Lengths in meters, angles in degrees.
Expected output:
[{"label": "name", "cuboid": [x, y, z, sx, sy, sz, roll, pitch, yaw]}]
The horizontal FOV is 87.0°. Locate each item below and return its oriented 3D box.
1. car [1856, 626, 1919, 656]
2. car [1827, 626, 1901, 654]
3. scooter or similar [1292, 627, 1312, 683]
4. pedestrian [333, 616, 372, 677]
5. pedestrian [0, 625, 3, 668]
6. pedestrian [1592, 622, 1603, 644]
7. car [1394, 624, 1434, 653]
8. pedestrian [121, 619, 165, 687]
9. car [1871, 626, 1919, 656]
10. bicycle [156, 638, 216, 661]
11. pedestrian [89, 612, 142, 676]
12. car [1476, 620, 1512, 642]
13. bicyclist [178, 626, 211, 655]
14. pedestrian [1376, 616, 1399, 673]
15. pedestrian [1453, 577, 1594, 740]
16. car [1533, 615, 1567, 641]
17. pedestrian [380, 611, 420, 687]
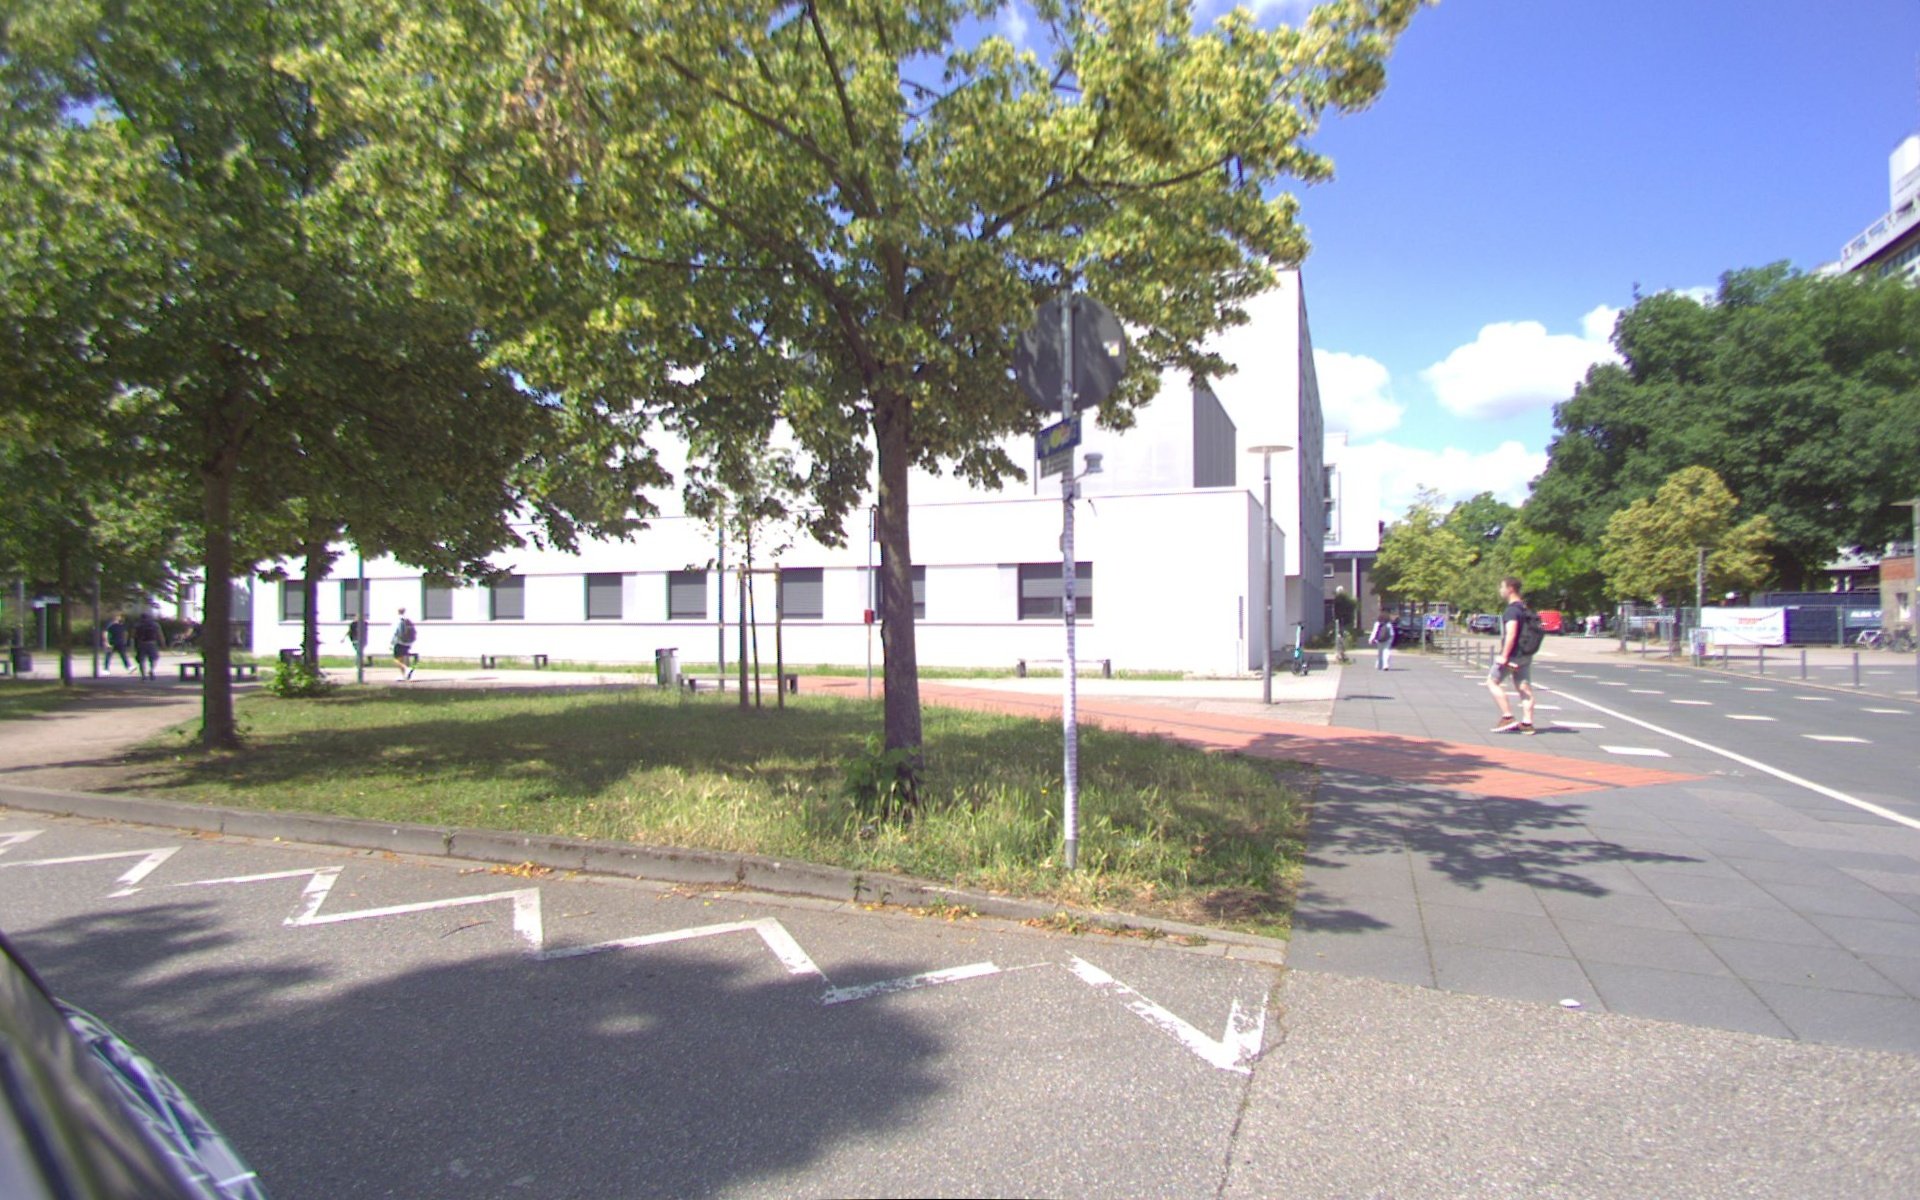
[{"label": "car", "cuboid": [38.377, 1.669, 41.550, 2.276, 1.189, 0.520, -1, -2, 24]}, {"label": "car", "cuboid": [39.157, 1.731, 43.863, 2.312, 1.189, 0.475, -1, -2, 24]}, {"label": "scooter or similar", "cuboid": [7.830, 1.244, 23.154, 0.325, 1.245, 1.064, -1, -2, 24]}, {"label": "pedestrian", "cuboid": [-17.138, 1.294, 28.561, 0.720, 1.701, 0.624, -1, -2, 21]}, {"label": "pedestrian", "cuboid": [-37.325, 1.794, 38.701, 0.801, 1.661, 0.841, -1, -2, 32]}, {"label": "pedestrian", "cuboid": [44.268, 2.292, 70.286, 0.641, 1.550, 0.448, -1, -2, 33]}, {"label": "car", "cuboid": [22.728, 1.896, 50.748, 1.541, 1.396, 3.431, -1, -1, 20]}, {"label": "pedestrian", "cuboid": [-20.454, 1.303, 25.338, 0.714, 1.669, 0.718, 0, -2, -28]}, {"label": "car", "cuboid": [37.620, 1.618, 39.890, 2.355, 1.189, 0.788, -1, -2, 24]}, {"label": "bicycle", "cuboid": [-33.305, 2.122, 43.572, 0.794, 0.924, 1.929, -1, -2, 26]}, {"label": "pedestrian", "cuboid": [-24.197, 1.245, 29.002, 1.089, 1.789, 0.787, -1, -1, 27]}, {"label": "car", "cuboid": [51.866, 2.999, 98.216, 2.027, 2.108, 4.370, -2, -3, 43]}, {"label": "bicyclist", "cuboid": [-33.202, 1.752, 43.904, 0.794, 1.269, 0.894, -1, -2, 26]}, {"label": "pedestrian", "cuboid": [11.144, 1.145, 26.352, 0.522, 1.450, 0.695, -1, -2, 25]}, {"label": "pedestrian", "cuboid": [6.689, 0.666, 12.024, 1.005, 1.814, 1.173, 3, -2, -41]}, {"label": "car", "cuboid": [42.905, 2.052, 73.672, 1.906, 1.896, 3.961, -1, -2, 28]}, {"label": "pedestrian", "cuboid": [-13.386, 1.166, 24.210, 0.699, 1.783, 0.832, 0, -1, -18]}]
